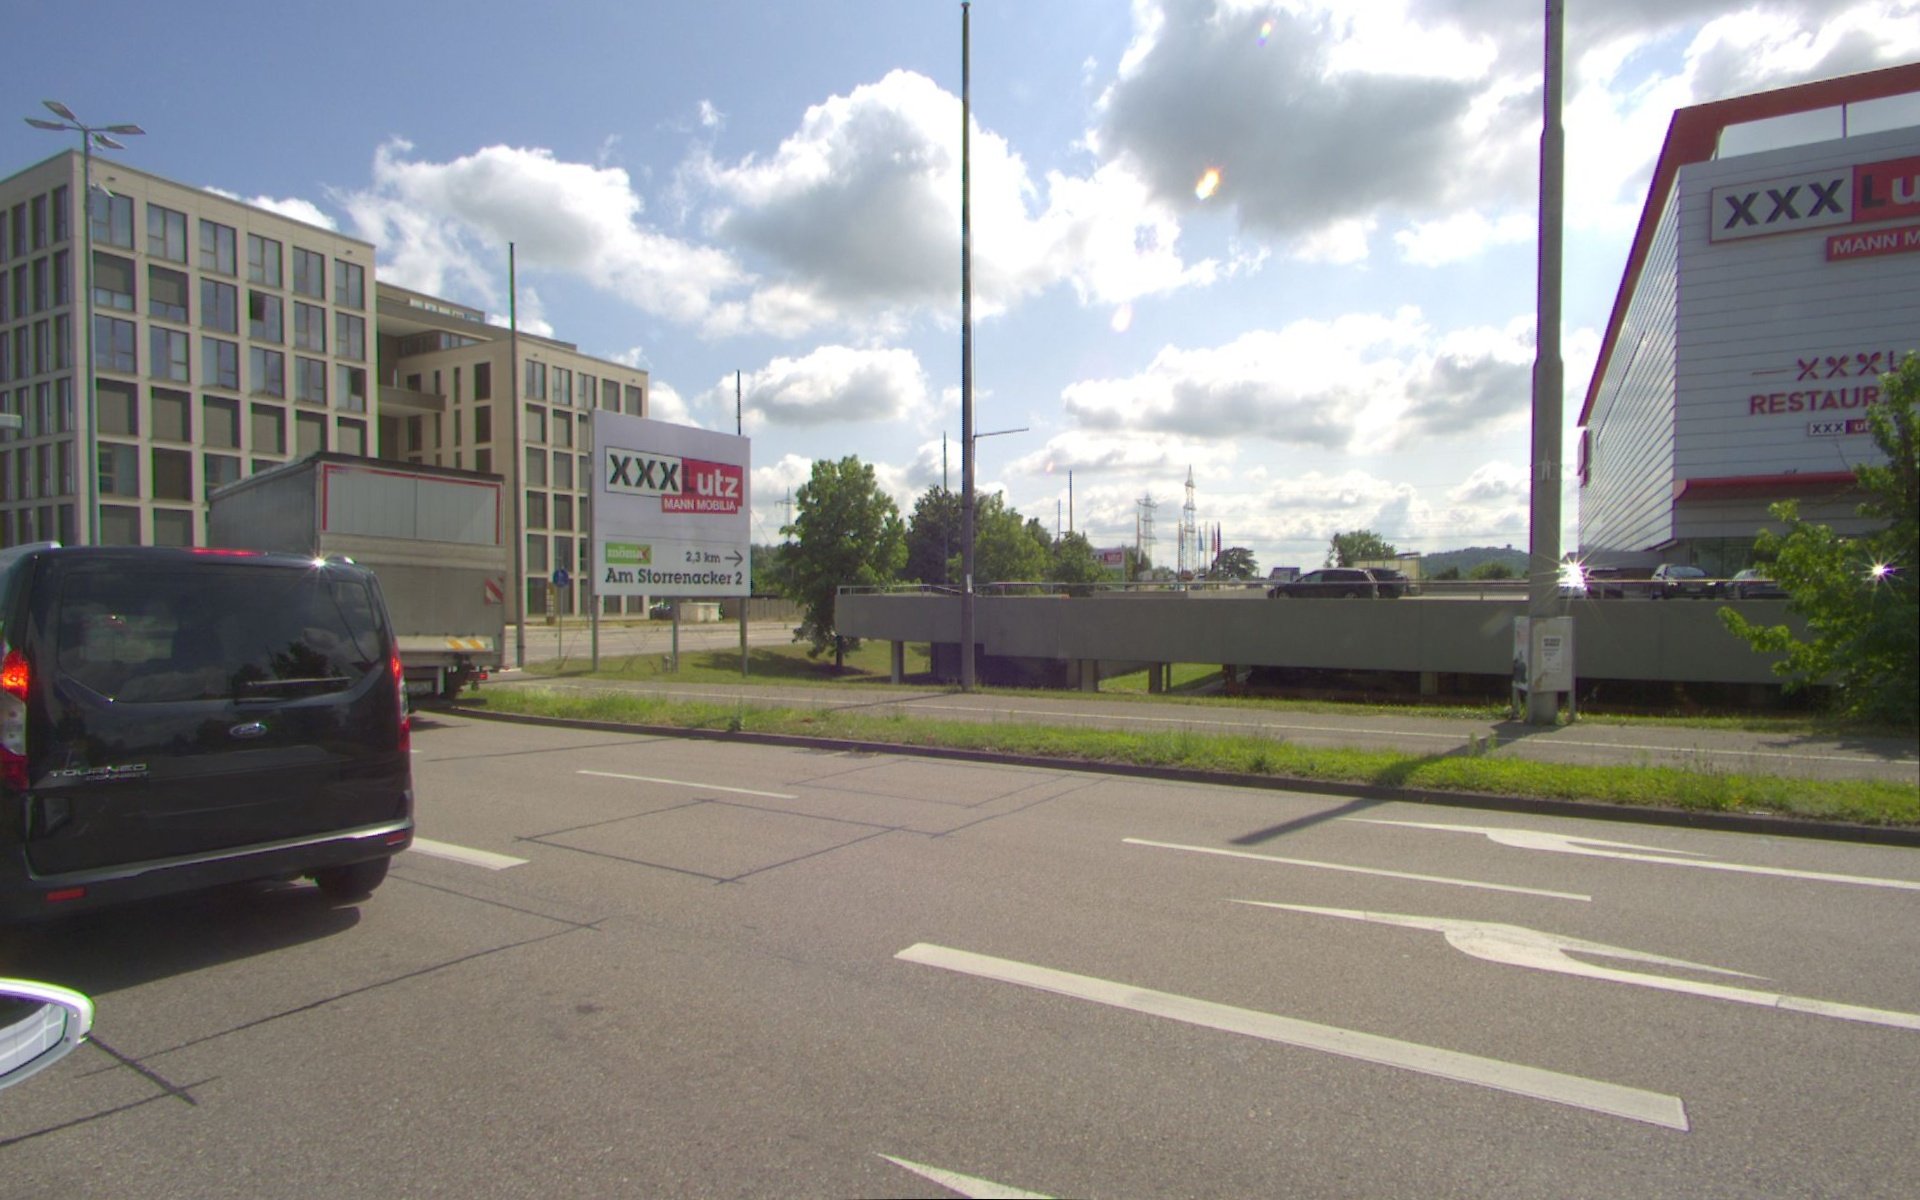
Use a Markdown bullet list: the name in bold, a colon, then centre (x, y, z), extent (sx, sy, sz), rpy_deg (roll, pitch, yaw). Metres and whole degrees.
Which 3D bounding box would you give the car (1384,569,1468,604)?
- **car**: centre (24.661, -0.697, 53.042), extent (3.936, 1.751, 1.993), rpy_deg (1, 0, 27)

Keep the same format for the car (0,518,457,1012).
- **car**: centre (-4.714, 0.647, 5.523), extent (3.946, 1.832, 1.815), rpy_deg (0, -1, 35)

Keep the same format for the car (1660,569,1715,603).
- **car**: centre (31.805, -0.644, 43.842), extent (1.561, 1.430, 3.519), rpy_deg (1, 2, 30)

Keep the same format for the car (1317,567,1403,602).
- **car**: centre (19.826, -0.763, 49.660), extent (3.806, 1.622, 1.742), rpy_deg (1, 0, 27)

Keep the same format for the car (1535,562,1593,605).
- **car**: centre (24.769, -0.644, 41.194), extent (1.608, 1.596, 3.897), rpy_deg (1, 0, 25)

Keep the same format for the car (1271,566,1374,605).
- **car**: centre (15.025, -0.587, 41.511), extent (3.806, 1.541, 1.869), rpy_deg (1, 0, 27)

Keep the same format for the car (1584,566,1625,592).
- **car**: centre (33.949, -1.072, 52.803), extent (1.670, 1.199, 3.890), rpy_deg (1, -1, 31)

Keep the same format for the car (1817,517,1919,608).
- **car**: centre (26.195, -0.963, 28.325), extent (1.957, 2.223, 5.157), rpy_deg (0, -2, 29)

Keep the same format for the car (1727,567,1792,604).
- **car**: centre (32.917, -0.561, 41.296), extent (1.561, 1.429, 3.521), rpy_deg (1, 0, 30)

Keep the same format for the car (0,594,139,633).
- **car**: centre (-39.730, 0.579, 44.232), extent (1.969, 1.628, 4.978), rpy_deg (1, -1, 29)

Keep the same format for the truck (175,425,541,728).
- **truck**: centre (-10.756, -0.291, 17.345), extent (8.759, 3.992, 3.113), rpy_deg (0, 0, 43)

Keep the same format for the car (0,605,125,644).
- **car**: centre (-37.034, 0.973, 41.117), extent (1.768, 1.509, 3.888), rpy_deg (1, -1, 31)
